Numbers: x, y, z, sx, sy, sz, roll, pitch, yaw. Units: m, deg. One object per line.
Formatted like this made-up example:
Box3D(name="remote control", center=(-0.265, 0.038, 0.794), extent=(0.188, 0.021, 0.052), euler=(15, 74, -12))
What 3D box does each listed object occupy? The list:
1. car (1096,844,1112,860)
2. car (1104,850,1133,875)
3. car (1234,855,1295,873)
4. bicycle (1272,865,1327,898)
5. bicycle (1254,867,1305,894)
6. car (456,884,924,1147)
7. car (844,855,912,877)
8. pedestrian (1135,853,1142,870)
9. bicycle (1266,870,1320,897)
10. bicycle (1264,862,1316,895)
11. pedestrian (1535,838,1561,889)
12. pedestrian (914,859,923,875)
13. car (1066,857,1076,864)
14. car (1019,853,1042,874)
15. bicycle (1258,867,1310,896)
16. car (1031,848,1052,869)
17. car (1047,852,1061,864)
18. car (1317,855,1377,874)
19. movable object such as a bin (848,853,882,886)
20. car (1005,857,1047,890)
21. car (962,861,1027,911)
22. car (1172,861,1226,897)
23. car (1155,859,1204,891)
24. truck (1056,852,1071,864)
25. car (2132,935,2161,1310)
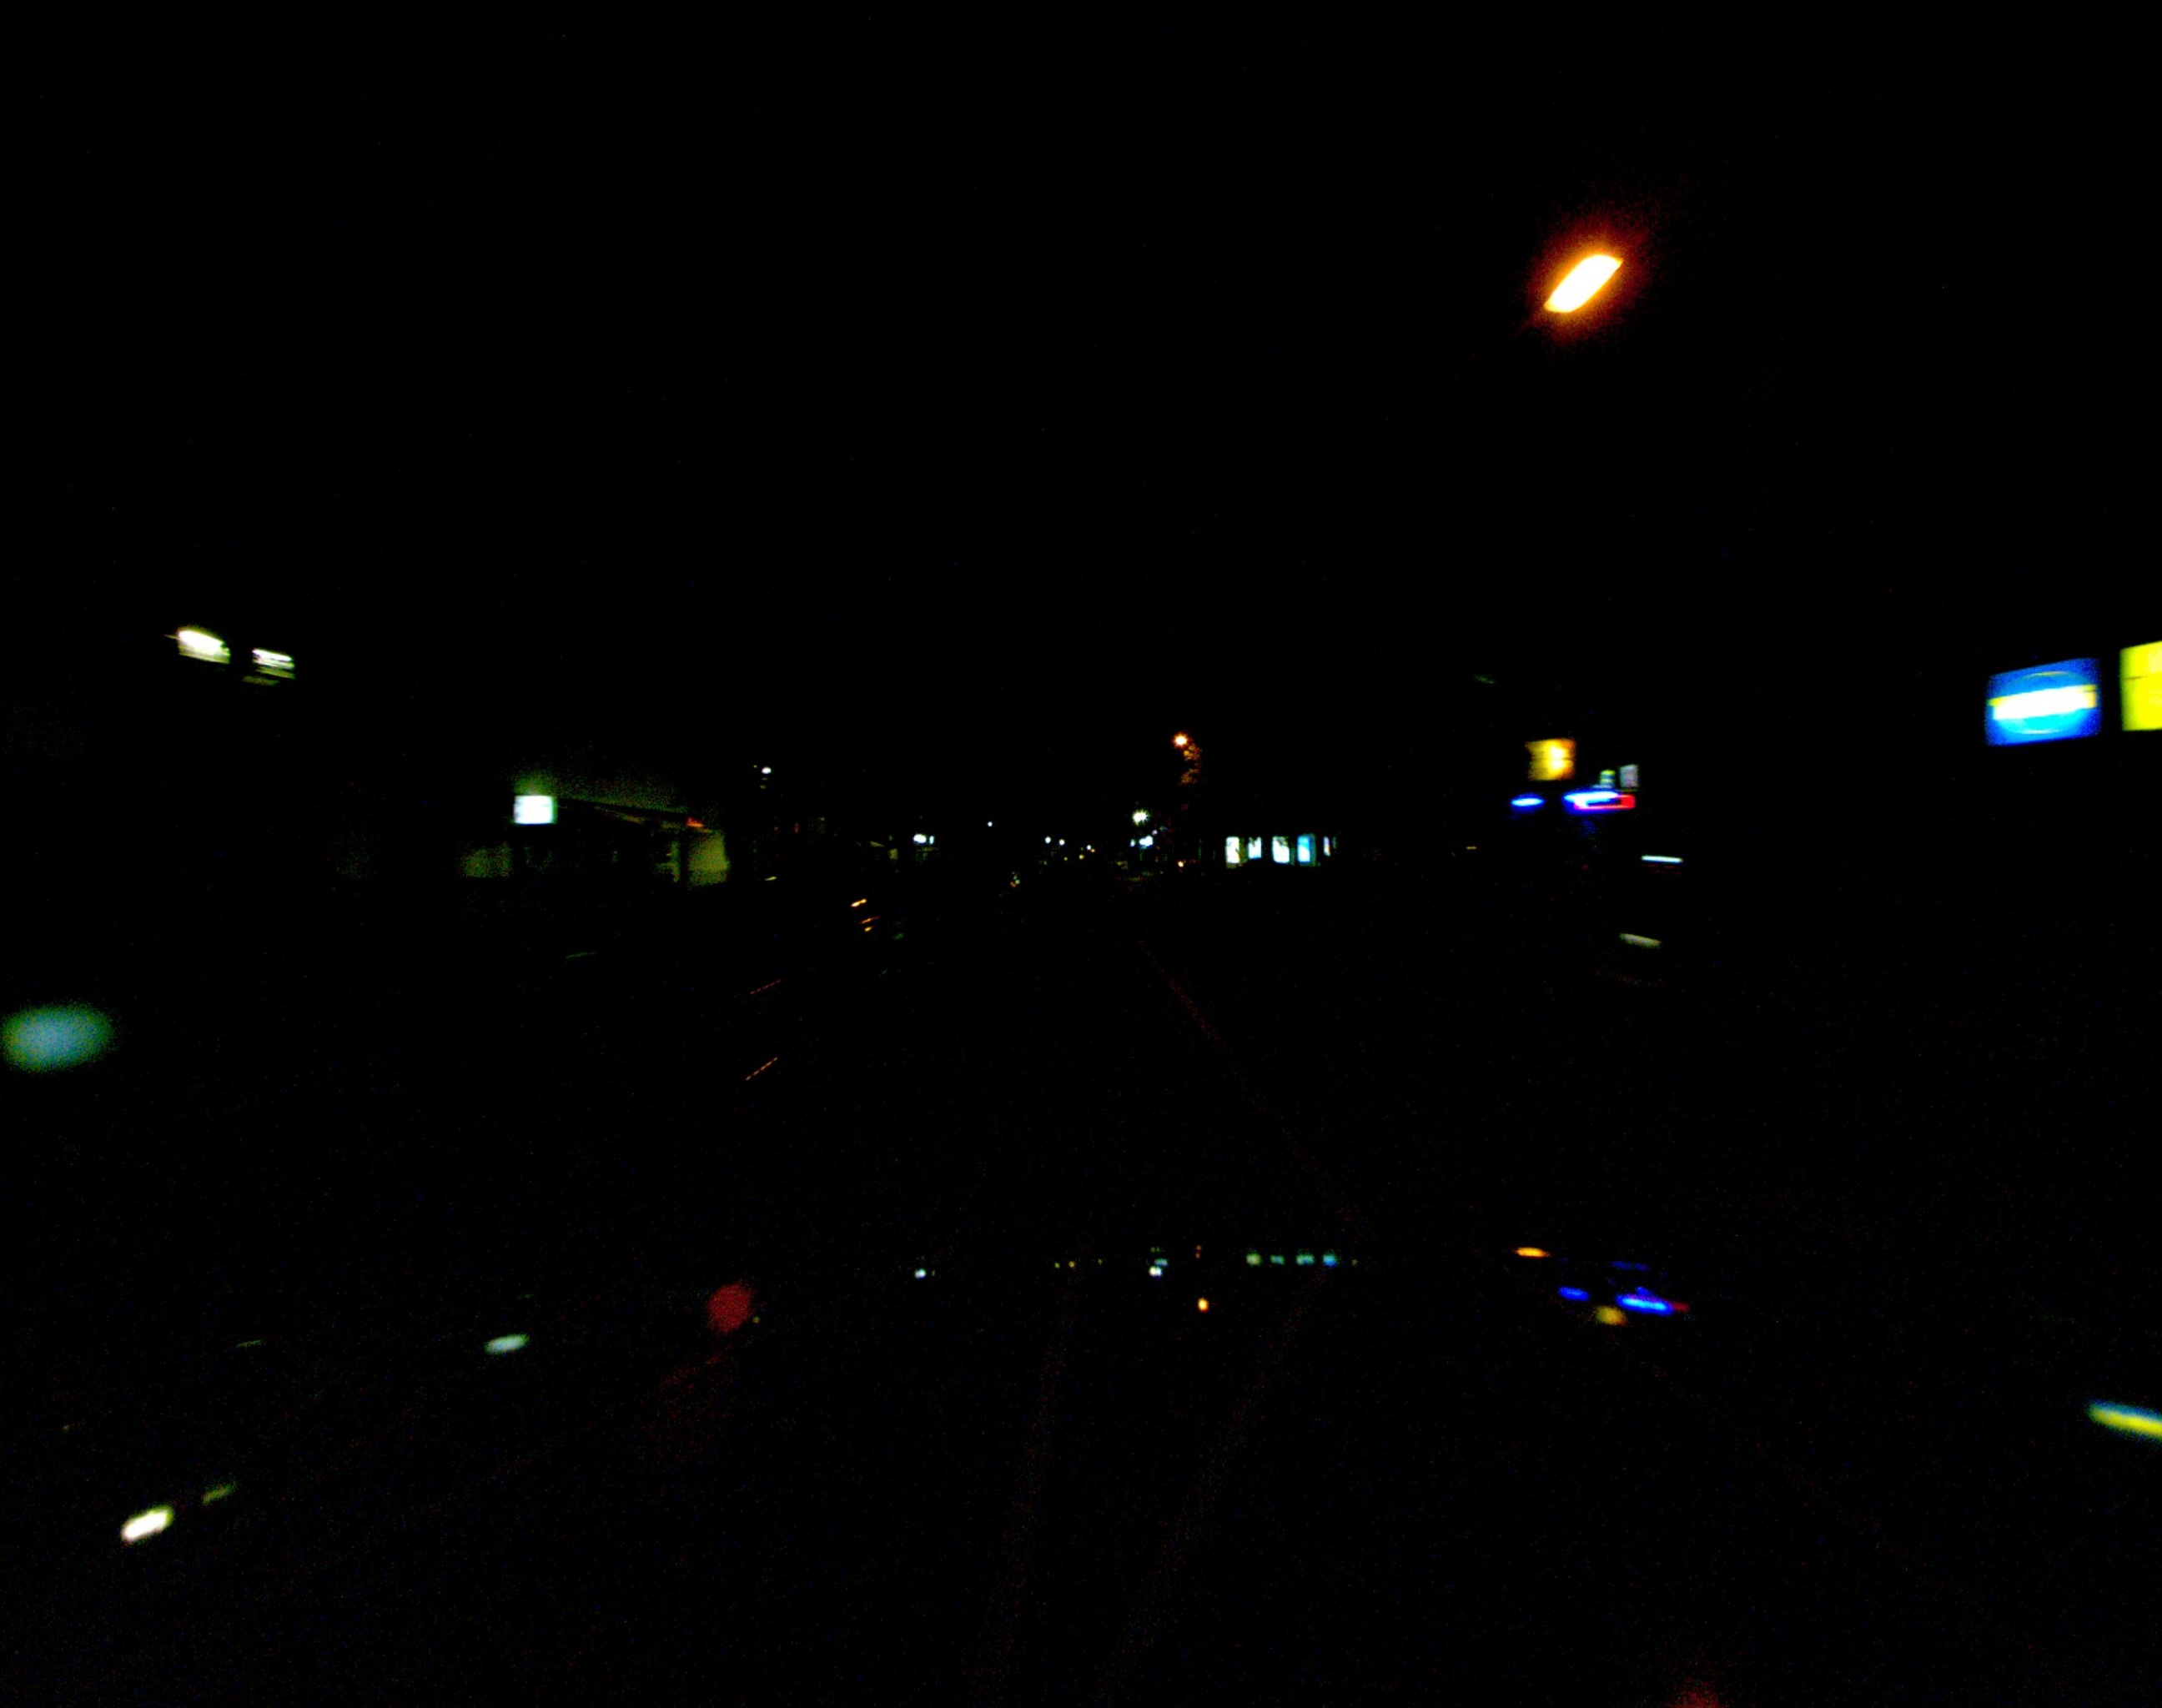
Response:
Box3D(name="car", center=(3.043, -0.223, 101.336), extent=(1.930, 1.953, 5.076), euler=(-2, 0, -1))
Box3D(name="car", center=(3.424, 0.755, 69.861), extent=(1.858, 2.075, 5.088), euler=(-2, 0, -5))
Box3D(name="car", center=(14.483, 0.798, 60.136), extent=(4.340, 1.389, 1.803), euler=(-1, 0, -1))
Box3D(name="bicycle", center=(7.897, 0.983, 27.515), extent=(1.855, 1.159, 0.532), euler=(0, 0, 0))
Box3D(name="bicycle", center=(7.926, 1.059, 30.374), extent=(1.855, 0.994, 0.532), euler=(-2, 0, 0))
Box3D(name="car", center=(-2.856, 1.071, 6.985), extent=(1.768, 1.406, 4.808), euler=(0, 0, 1))
Box3D(name="car", center=(-14.335, 0.815, 53.873), extent=(4.327, 1.523, 1.803), euler=(0, 1, -1))
Box3D(name="pedestrian", center=(6.346, 0.835, 84.163), extent=(0.720, 1.795, 0.716), euler=(0, 0, 0))
Box3D(name="bicycle", center=(7.831, 1.096, 28.098), extent=(1.855, 0.962, 0.501), euler=(0, 0, 0))
Box3D(name="bicycle", center=(8.002, 0.941, 29.085), extent=(1.855, 1.246, 0.532), euler=(0, 0, 0))
Box3D(name="pedestrian", center=(15.045, 0.297, 24.486), extent=(0.479, 1.627, 0.632), euler=(0, 0, 1))
Box3D(name="pedestrian", center=(-13.691, 1.094, 63.897), extent=(0.501, 1.256, 0.530), euler=(0, 0, 28))
Box3D(name="car", center=(-2.045, 1.370, 162.861), extent=(1.737, 1.492, 4.002), euler=(0, 0, 5))
Box3D(name="car", center=(-4.480, 0.811, 67.400), extent=(1.793, 1.811, 4.579), euler=(0, 0, -1))
Box3D(name="bicycle", center=(7.925, 1.070, 29.731), extent=(1.855, 1.029, 0.532), euler=(-2, 0, 0))
Box3D(name="car", center=(-4.505, 0.462, 85.320), extent=(2.141, 2.313, 5.149), euler=(0, 0, -6))
Box3D(name="car", center=(-4.001, 0.575, 111.902), extent=(1.912, 1.792, 4.936), euler=(0, 0, -1))
Box3D(name="car", center=(21.057, 0.814, 60.319), extent=(4.146, 1.428, 1.803), euler=(-1, 0, -1))
Box3D(name="movable object such as a bin", center=(-9.208, 0.656, 32.425), extent=(1.163, 1.363, 0.993), euler=(-1, 0, -1))
Box3D(name="car", center=(-2.778, 0.965, 39.180), extent=(1.774, 1.528, 4.216), euler=(1, 0, 1))
Box3D(name="car", center=(-2.841, 1.008, 25.646), extent=(1.694, 1.528, 4.016), euler=(0, 0, 1))
Box3D(name="car", center=(5.131, 1.047, 33.498), extent=(1.726, 1.420, 3.976), euler=(-2, 0, 0))
Box3D(name="car", center=(4.971, 1.034, 38.987), extent=(1.811, 1.416, 4.921), euler=(-2, 0, 0))
Box3D(name="truck", center=(-3.364, 0.773, 147.706), extent=(2.109, 2.230, 6.290), euler=(0, 0, 5))
Box3D(name="car", center=(4.895, 0.984, 0.668), extent=(1.745, 1.405, 4.495), euler=(-1, 0, 1))
